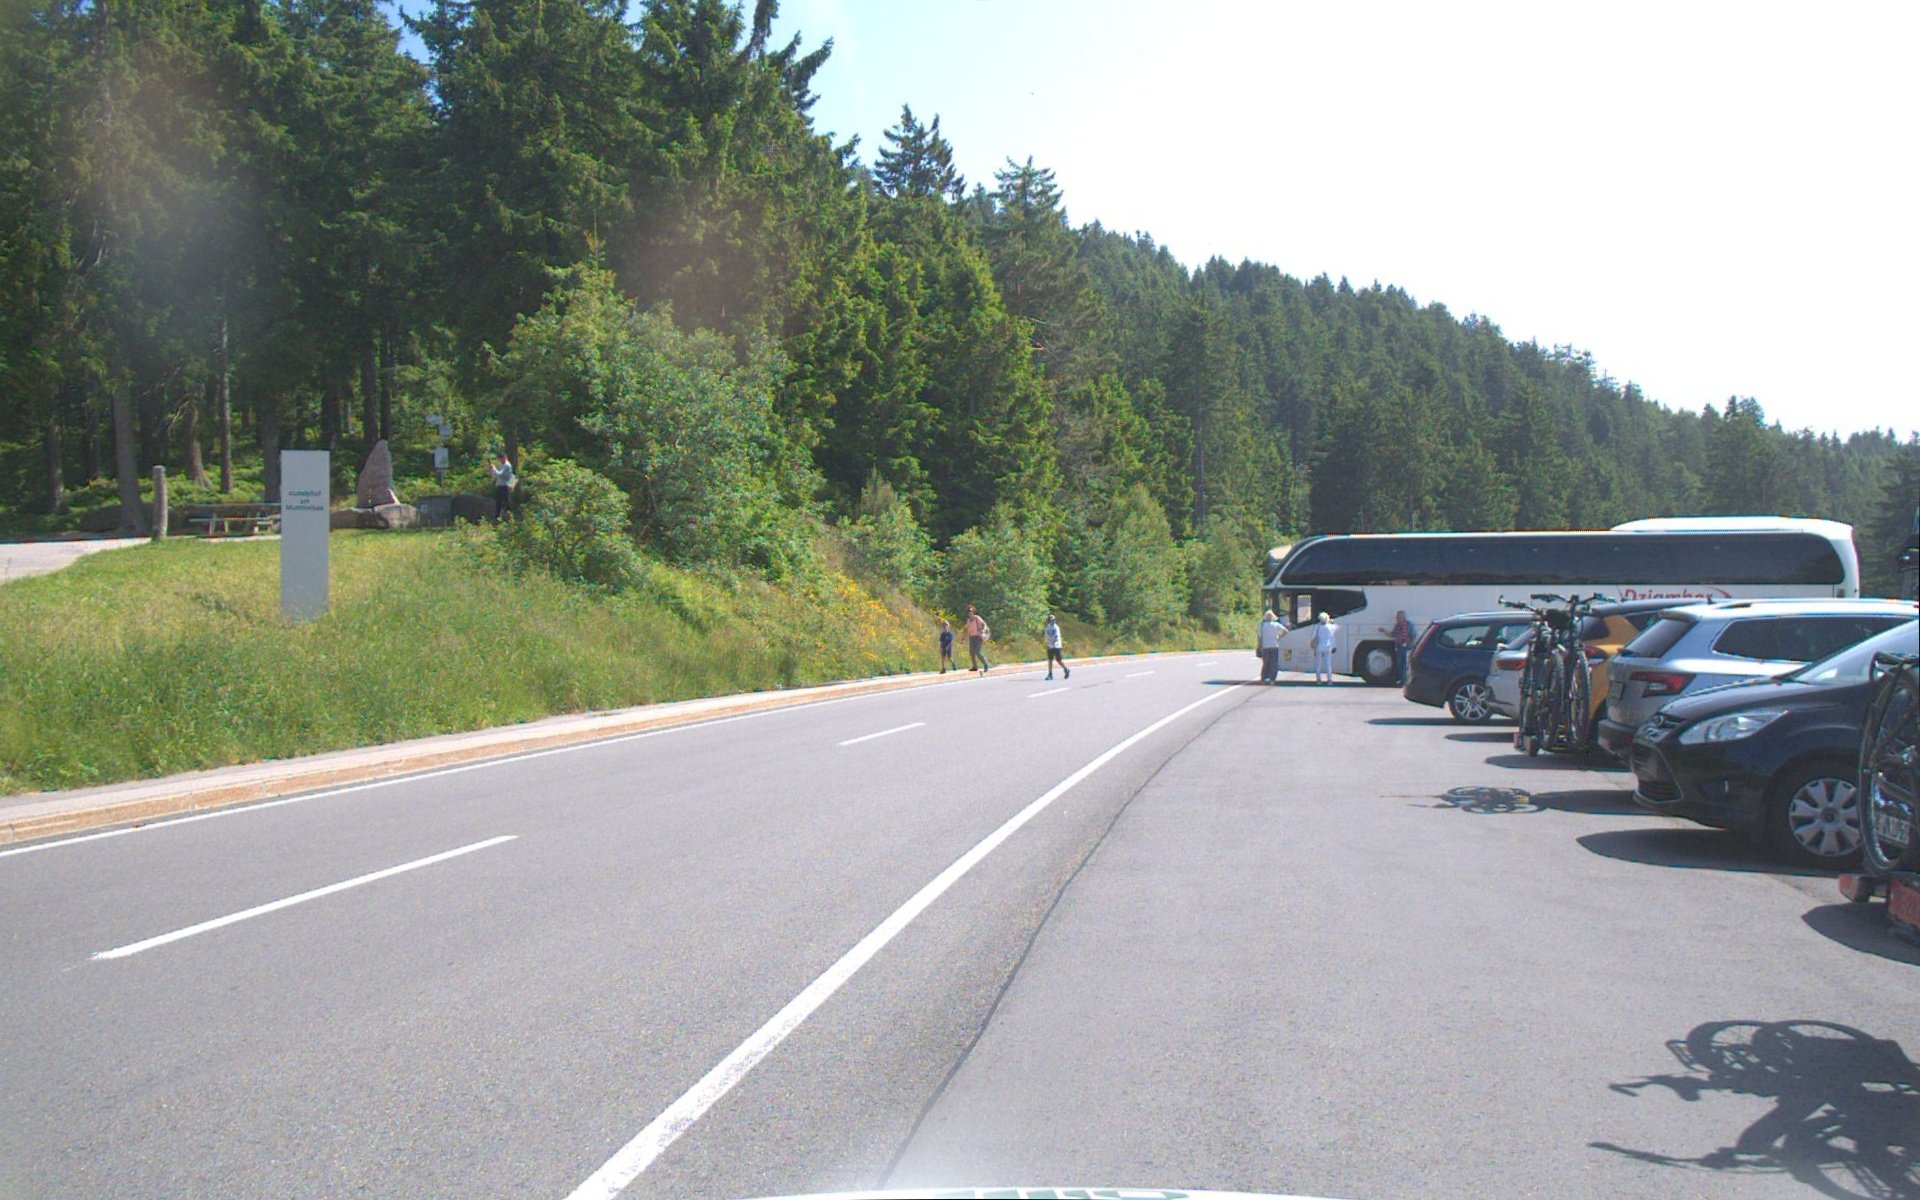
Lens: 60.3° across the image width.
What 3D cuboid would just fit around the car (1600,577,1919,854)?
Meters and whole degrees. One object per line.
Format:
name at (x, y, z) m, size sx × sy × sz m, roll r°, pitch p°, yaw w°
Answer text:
car at (6.351, 0.644, 10.236) m, size 4.153 × 1.581 × 1.840 m, roll -1°, pitch 0°, yaw 10°

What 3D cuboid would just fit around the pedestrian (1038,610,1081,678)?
pedestrian at (2.429, 1.065, 40.491) m, size 0.838 × 1.613 × 0.816 m, roll -1°, pitch -1°, yaw -12°

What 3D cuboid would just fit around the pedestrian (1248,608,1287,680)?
pedestrian at (7.029, 0.992, 37.783) m, size 0.754 × 1.613 × 0.773 m, roll -1°, pitch -1°, yaw 17°

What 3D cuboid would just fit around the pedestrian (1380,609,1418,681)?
pedestrian at (9.919, 1.011, 37.372) m, size 0.754 × 1.613 × 0.773 m, roll -1°, pitch -1°, yaw 18°

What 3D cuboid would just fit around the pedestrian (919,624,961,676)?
pedestrian at (-0.510, 1.271, 42.286) m, size 0.767 × 1.302 × 0.734 m, roll -2°, pitch -1°, yaw 33°

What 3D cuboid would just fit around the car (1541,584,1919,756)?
car at (7.984, 0.668, 16.460) m, size 3.902 × 1.581 × 1.661 m, roll -1°, pitch 0°, yaw 10°

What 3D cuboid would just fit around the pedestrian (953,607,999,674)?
pedestrian at (0.428, 1.056, 43.186) m, size 0.851 × 1.713 × 0.854 m, roll -2°, pitch -1°, yaw 32°

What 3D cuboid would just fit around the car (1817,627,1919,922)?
car at (6.379, 0.746, 7.380) m, size 4.153 × 1.291 × 1.840 m, roll -1°, pitch 0°, yaw 10°

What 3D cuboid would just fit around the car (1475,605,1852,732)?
car at (8.398, 0.811, 20.047) m, size 3.902 × 1.423 × 1.621 m, roll -1°, pitch 0°, yaw 10°

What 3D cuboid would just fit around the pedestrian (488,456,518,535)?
pedestrian at (-11.278, -2.576, 40.816) m, size 0.669 × 1.911 × 0.539 m, roll -2°, pitch -1°, yaw -17°

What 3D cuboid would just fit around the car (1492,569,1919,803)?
car at (6.892, 0.622, 12.952) m, size 4.926 × 1.680 × 2.049 m, roll -1°, pitch 0°, yaw 10°

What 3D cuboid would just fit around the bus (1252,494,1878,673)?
bus at (13.375, -0.246, 37.733) m, size 12.822 × 3.594 × 3.044 m, roll -1°, pitch -1°, yaw 20°

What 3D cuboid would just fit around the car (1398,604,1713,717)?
car at (8.294, 0.838, 23.370) m, size 3.902 × 1.474 × 1.863 m, roll -1°, pitch 0°, yaw 10°

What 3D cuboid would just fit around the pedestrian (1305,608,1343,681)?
pedestrian at (8.224, 1.002, 37.368) m, size 0.754 × 1.613 × 0.773 m, roll -1°, pitch -1°, yaw 17°

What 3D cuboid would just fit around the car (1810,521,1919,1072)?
car at (5.387, 0.583, 4.779) m, size 4.843 × 1.725 × 1.947 m, roll -1°, pitch 0°, yaw 12°
